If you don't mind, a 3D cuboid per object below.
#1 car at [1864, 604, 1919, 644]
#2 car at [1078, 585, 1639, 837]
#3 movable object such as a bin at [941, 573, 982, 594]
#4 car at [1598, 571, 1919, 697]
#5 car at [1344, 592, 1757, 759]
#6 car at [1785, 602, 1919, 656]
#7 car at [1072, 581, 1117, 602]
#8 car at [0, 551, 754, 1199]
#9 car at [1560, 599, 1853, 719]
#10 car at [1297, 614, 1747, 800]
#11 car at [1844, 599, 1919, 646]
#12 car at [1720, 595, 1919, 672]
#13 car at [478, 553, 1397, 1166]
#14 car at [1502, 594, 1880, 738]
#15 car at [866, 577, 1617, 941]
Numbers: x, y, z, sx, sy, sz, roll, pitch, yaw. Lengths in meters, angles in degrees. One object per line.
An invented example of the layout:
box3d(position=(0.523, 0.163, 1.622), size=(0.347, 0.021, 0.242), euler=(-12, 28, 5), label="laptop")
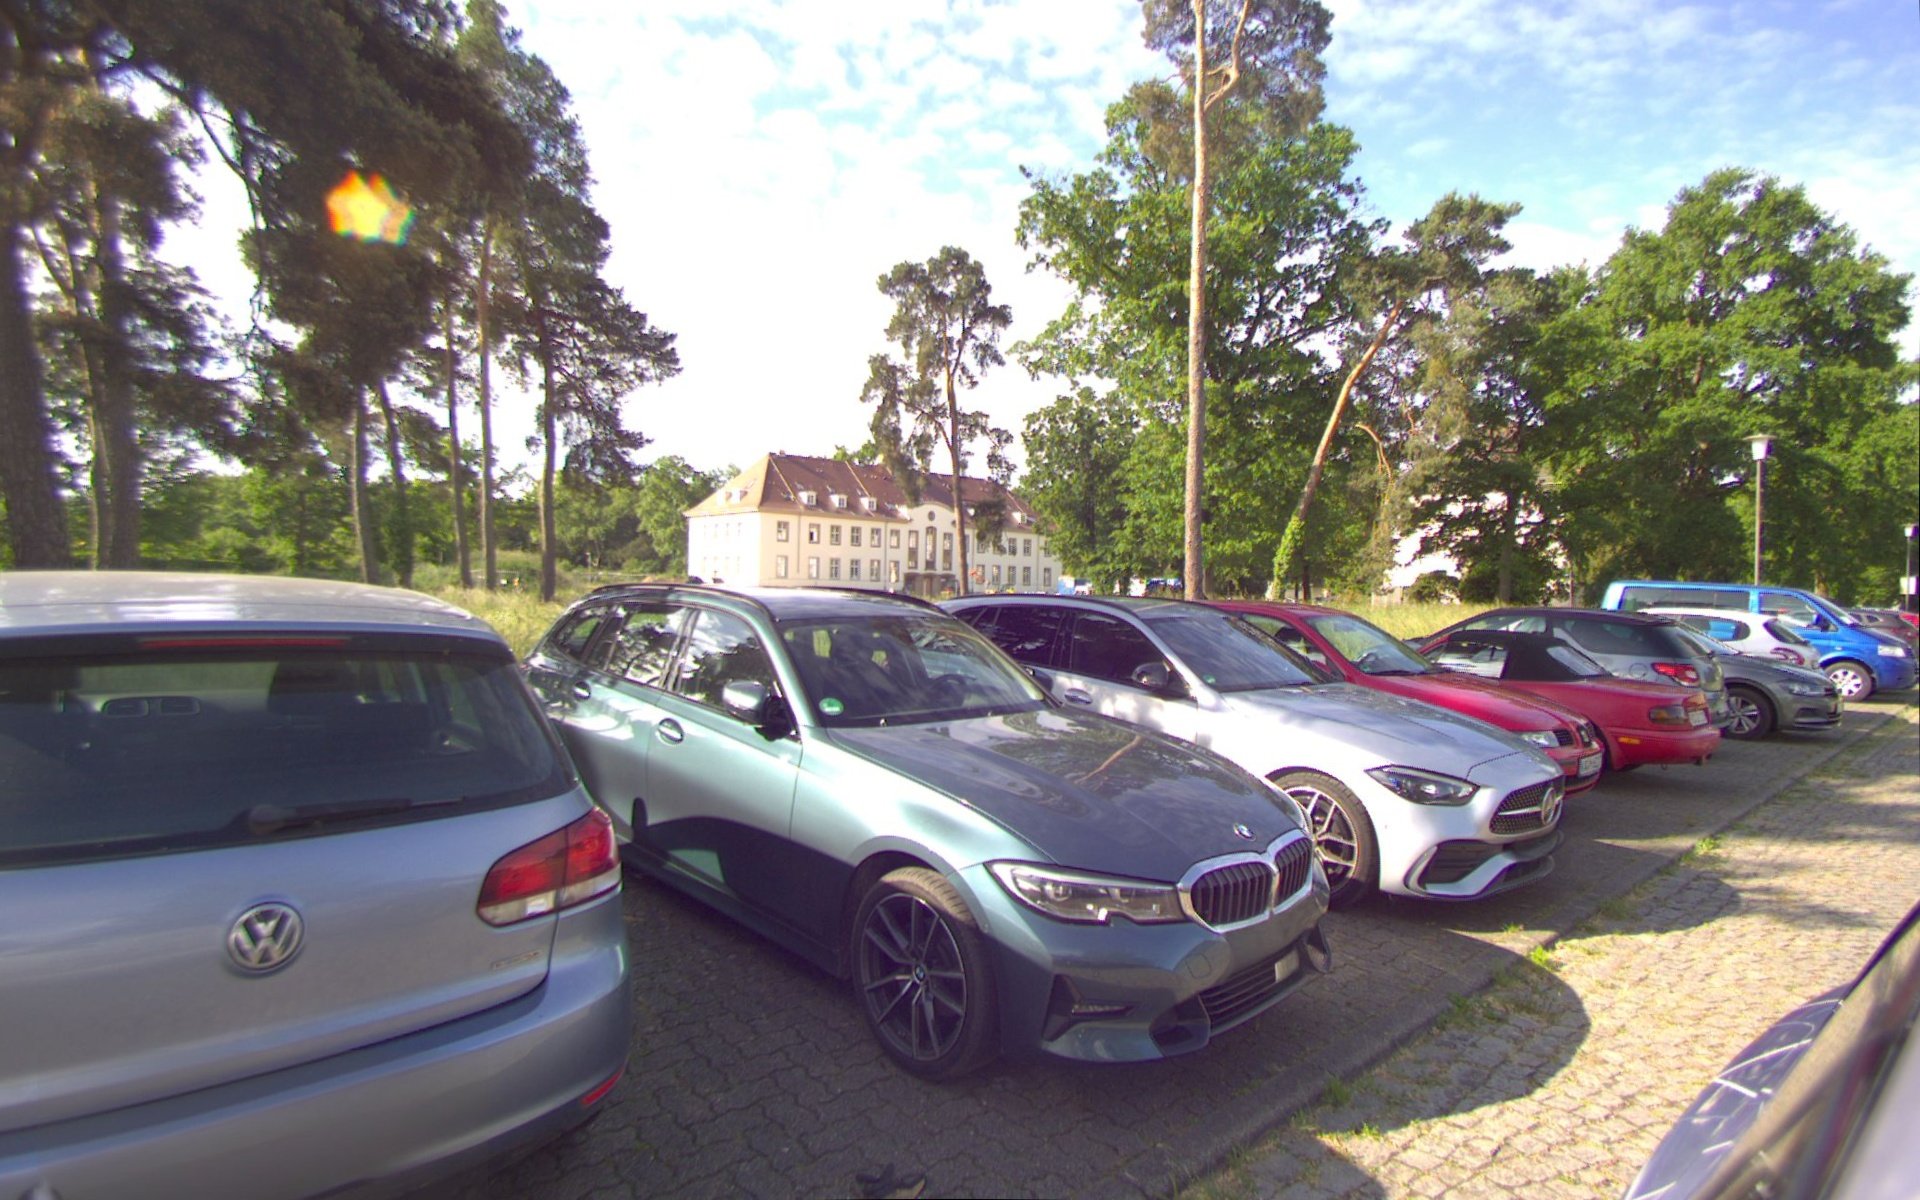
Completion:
box3d(position=(39.837, 0.967, 41.363), size=(1.724, 1.635, 3.997), euler=(-1, -1, -37), label="car")
box3d(position=(2.988, 0.665, 8.235), size=(1.632, 1.410, 3.914), euler=(0, 2, -42), label="car")
box3d(position=(0.199, -1.955, 121.558), size=(1.994, 2.352, 4.906), euler=(2, 1, 45), label="movable object such as a bin")
box3d(position=(14.859, 0.503, 18.771), size=(1.964, 2.039, 4.725), euler=(1, 1, -40), label="car")
box3d(position=(6.554, 0.708, 11.547), size=(1.522, 1.509, 3.775), euler=(1, 1, -42), label="car")
box3d(position=(28.618, 0.893, 31.726), size=(1.725, 1.537, 3.997), euler=(1, 1, -38), label="car")
box3d(position=(13.857, -0.881, 104.173), size=(4.689, 2.039, 1.997), euler=(1, 1, -41), label="car")
box3d(position=(-2.483, 0.603, 3.134), size=(1.839, 1.478, 4.022), euler=(0, 2, -42), label="car")
box3d(position=(11.020, 0.778, 15.109), size=(1.423, 1.509, 3.264), euler=(1, 1, -39), label="car")
box3d(position=(5.005, 0.825, 9.324), size=(1.395, 1.271, 3.353), euler=(0, 1, -42), label="car")
box3d(position=(36.274, 0.844, 38.290), size=(1.725, 1.763, 3.996), euler=(1, -1, -38), label="car")
box3d(position=(21.286, 0.759, 24.756), size=(1.725, 1.660, 3.997), euler=(1, 1, -38), label="car")
box3d(position=(-0.556, 0.598, 4.847), size=(1.796, 1.535, 4.498), euler=(0, 2, -44), label="car")
box3d(position=(9.157, 0.717, 12.982), size=(1.478, 1.509, 3.629), euler=(1, 1, -32), label="car")
box3d(position=(1.443, 0.649, 6.594), size=(1.795, 1.419, 4.419), euler=(1, 3, -42), label="car")
